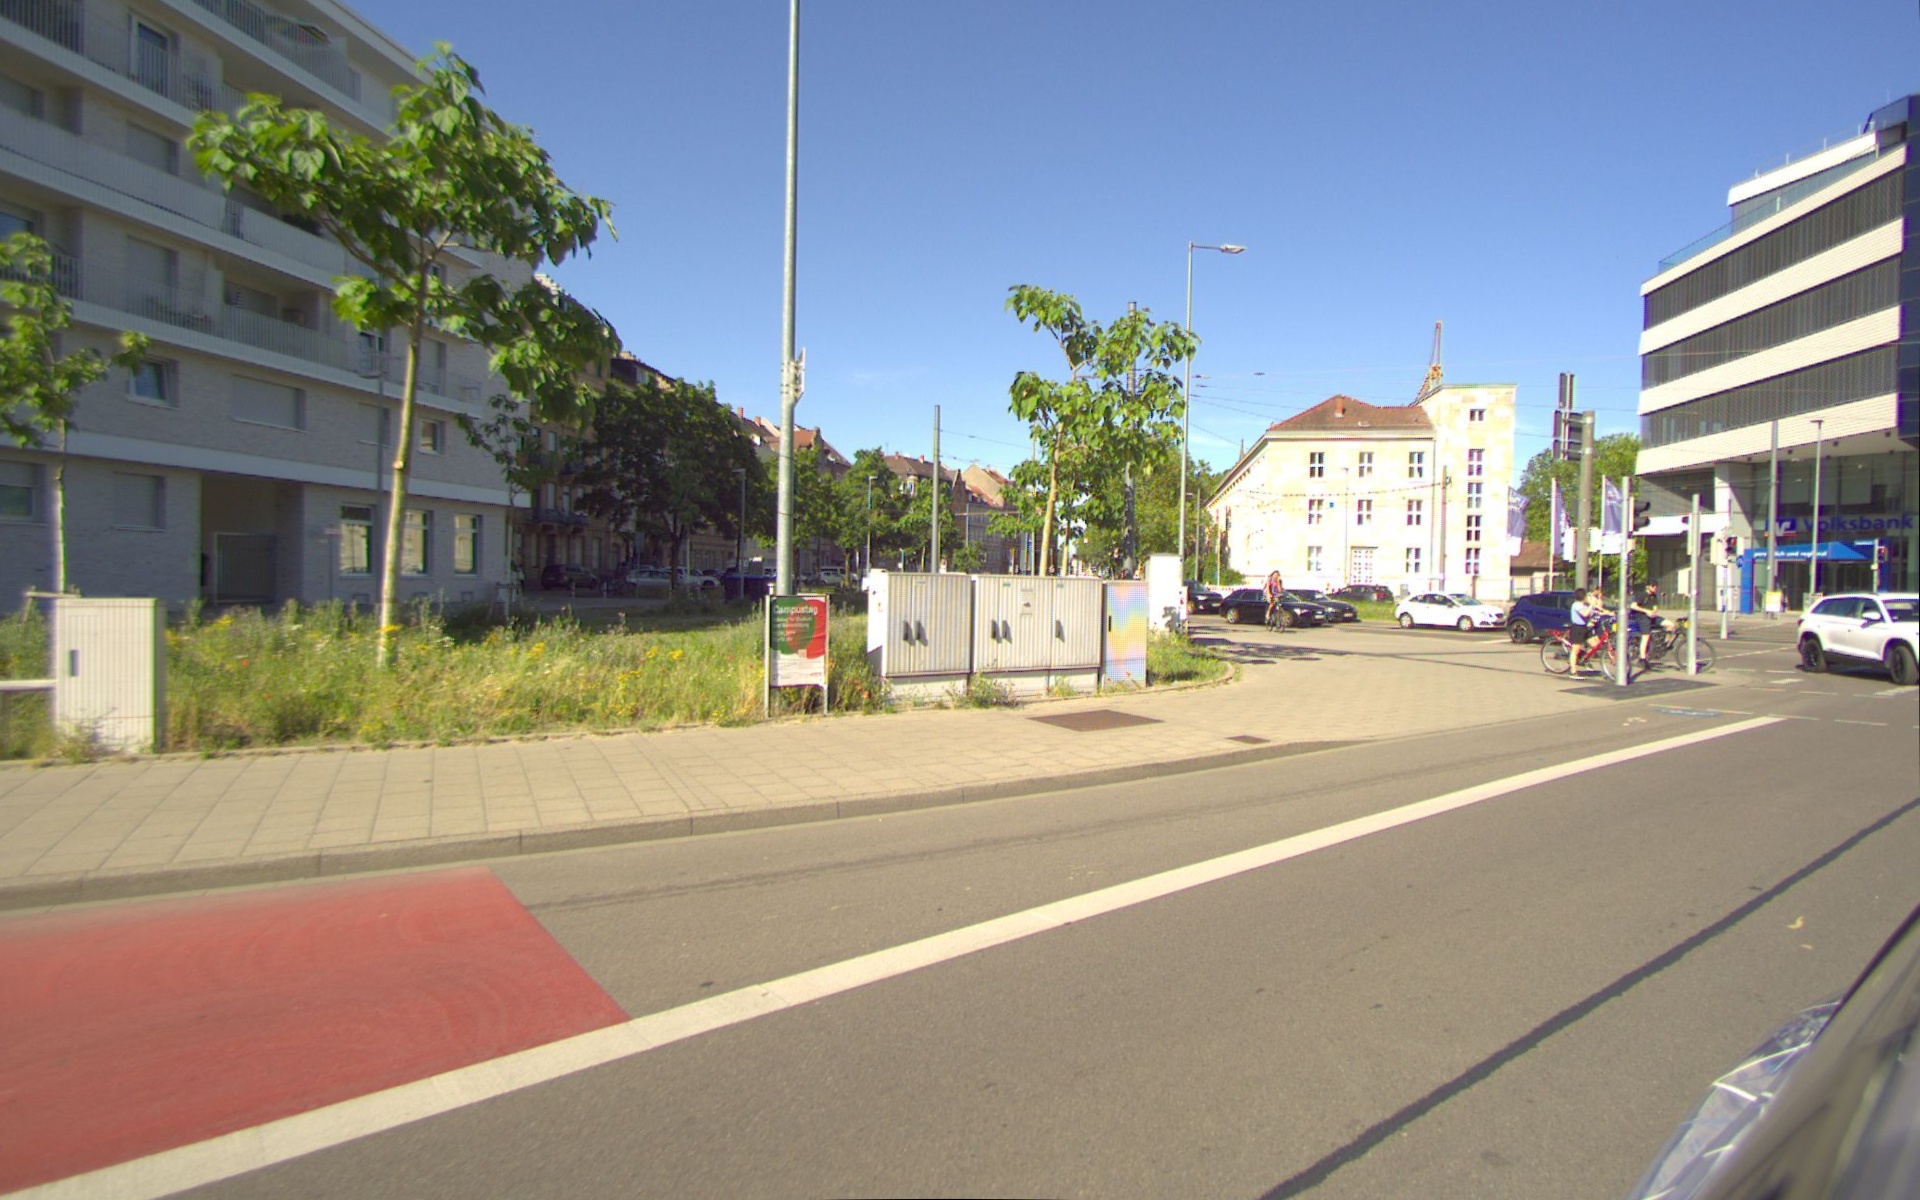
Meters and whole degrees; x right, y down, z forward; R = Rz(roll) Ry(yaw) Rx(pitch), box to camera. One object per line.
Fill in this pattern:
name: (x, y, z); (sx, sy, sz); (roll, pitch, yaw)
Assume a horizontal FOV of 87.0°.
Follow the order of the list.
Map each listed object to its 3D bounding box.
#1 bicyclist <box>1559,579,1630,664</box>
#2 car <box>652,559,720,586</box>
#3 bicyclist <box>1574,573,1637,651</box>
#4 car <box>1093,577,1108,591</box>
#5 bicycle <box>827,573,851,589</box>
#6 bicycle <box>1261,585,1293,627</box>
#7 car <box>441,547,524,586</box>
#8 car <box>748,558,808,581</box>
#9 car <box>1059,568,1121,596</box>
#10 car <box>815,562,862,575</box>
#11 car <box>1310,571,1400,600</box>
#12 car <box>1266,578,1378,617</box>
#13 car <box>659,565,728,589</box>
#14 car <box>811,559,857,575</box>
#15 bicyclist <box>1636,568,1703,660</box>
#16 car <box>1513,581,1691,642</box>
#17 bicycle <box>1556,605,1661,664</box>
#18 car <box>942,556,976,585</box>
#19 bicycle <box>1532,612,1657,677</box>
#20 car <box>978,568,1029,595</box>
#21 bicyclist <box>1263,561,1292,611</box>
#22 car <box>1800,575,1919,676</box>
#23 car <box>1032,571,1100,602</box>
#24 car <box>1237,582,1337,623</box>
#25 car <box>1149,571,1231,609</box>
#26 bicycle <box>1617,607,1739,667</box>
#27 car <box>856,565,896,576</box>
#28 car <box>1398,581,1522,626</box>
bicyclist: (11.155, 0.366, 17.808); (0.578, 1.421, 0.829); (1, 2, -28)
car: (-17.852, -1.798, 65.900); (3.918, 1.682, 2.004); (0, 2, -26)
bicyclist: (14.622, 0.255, 22.946); (0.583, 1.674, 1.006); (2, 3, -13)
car: (18.396, -2.088, 132.647); (1.742, 1.771, 3.989); (1, 2, 10)
bicycle: (-7.941, -1.234, 66.440); (0.565, 1.037, 1.740); (2, 2, 34)
bicycle: (9.269, 0.150, 29.615); (0.686, 1.118, 2.003); (4, 2, 13)
car: (-27.224, -1.907, 57.836); (1.968, 2.138, 4.629); (1, 2, 10)
car: (-15.172, -2.526, 84.392); (4.696, 1.793, 1.735); (0, 2, -26)
car: (7.635, -1.100, 59.759); (1.836, 1.575, 4.009); (0, 2, -23)
car: (-11.987, -3.137, 100.041); (4.308, 1.249, 2.005); (0, 2, -16)
car: (22.219, -0.817, 57.057); (1.967, 1.518, 4.299); (-1, 2, -44)
car: (15.353, -0.145, 43.136); (1.804, 1.448, 4.491); (-1, 3, -27)
car: (-16.899, -1.474, 64.091); (3.918, 1.482, 2.004); (0, 2, -26)
car: (-12.792, -3.357, 102.878); (4.308, 1.479, 2.005); (0, 2, -16)
bicyclist: (14.569, 0.271, 20.799); (0.539, 1.820, 0.907); (1, 2, -33)
car: (18.340, 0.273, 29.126); (1.835, 1.575, 4.009); (0, 2, -21)
bicycle: (14.615, 0.752, 22.879); (0.682, 1.118, 2.017); (3, 3, -13)
car: (-0.111, -2.131, 72.232); (1.837, 2.006, 4.662); (1, 2, -7)
bicycle: (11.117, 0.760, 17.782); (0.682, 0.966, 1.710); (1, 2, -28)
car: (2.631, -1.133, 62.039); (1.835, 1.575, 4.010); (0, 2, -18)
bicyclist: (9.341, -0.421, 29.763); (0.687, 1.394, 0.735); (4, 2, 14)
car: (18.121, 0.417, 19.055); (1.848, 1.650, 4.321); (-1, 3, 15)
car: (5.622, -0.756, 54.361); (1.836, 1.575, 4.008); (0, 2, -25)
car: (12.875, 0.059, 40.065); (1.553, 1.451, 3.845); (0, 2, -25)
car: (11.344, -0.545, 50.260); (1.733, 1.705, 4.337); (-1, 2, -23)
bicycle: (14.633, 0.727, 20.681); (0.594, 1.050, 1.897); (1, 2, -33)
car: (-10.003, -3.548, 120.063); (4.310, 1.225, 2.004); (0, 2, -26)
car: (18.348, 0.079, 37.289); (1.636, 1.448, 3.841); (-3, 3, -28)
